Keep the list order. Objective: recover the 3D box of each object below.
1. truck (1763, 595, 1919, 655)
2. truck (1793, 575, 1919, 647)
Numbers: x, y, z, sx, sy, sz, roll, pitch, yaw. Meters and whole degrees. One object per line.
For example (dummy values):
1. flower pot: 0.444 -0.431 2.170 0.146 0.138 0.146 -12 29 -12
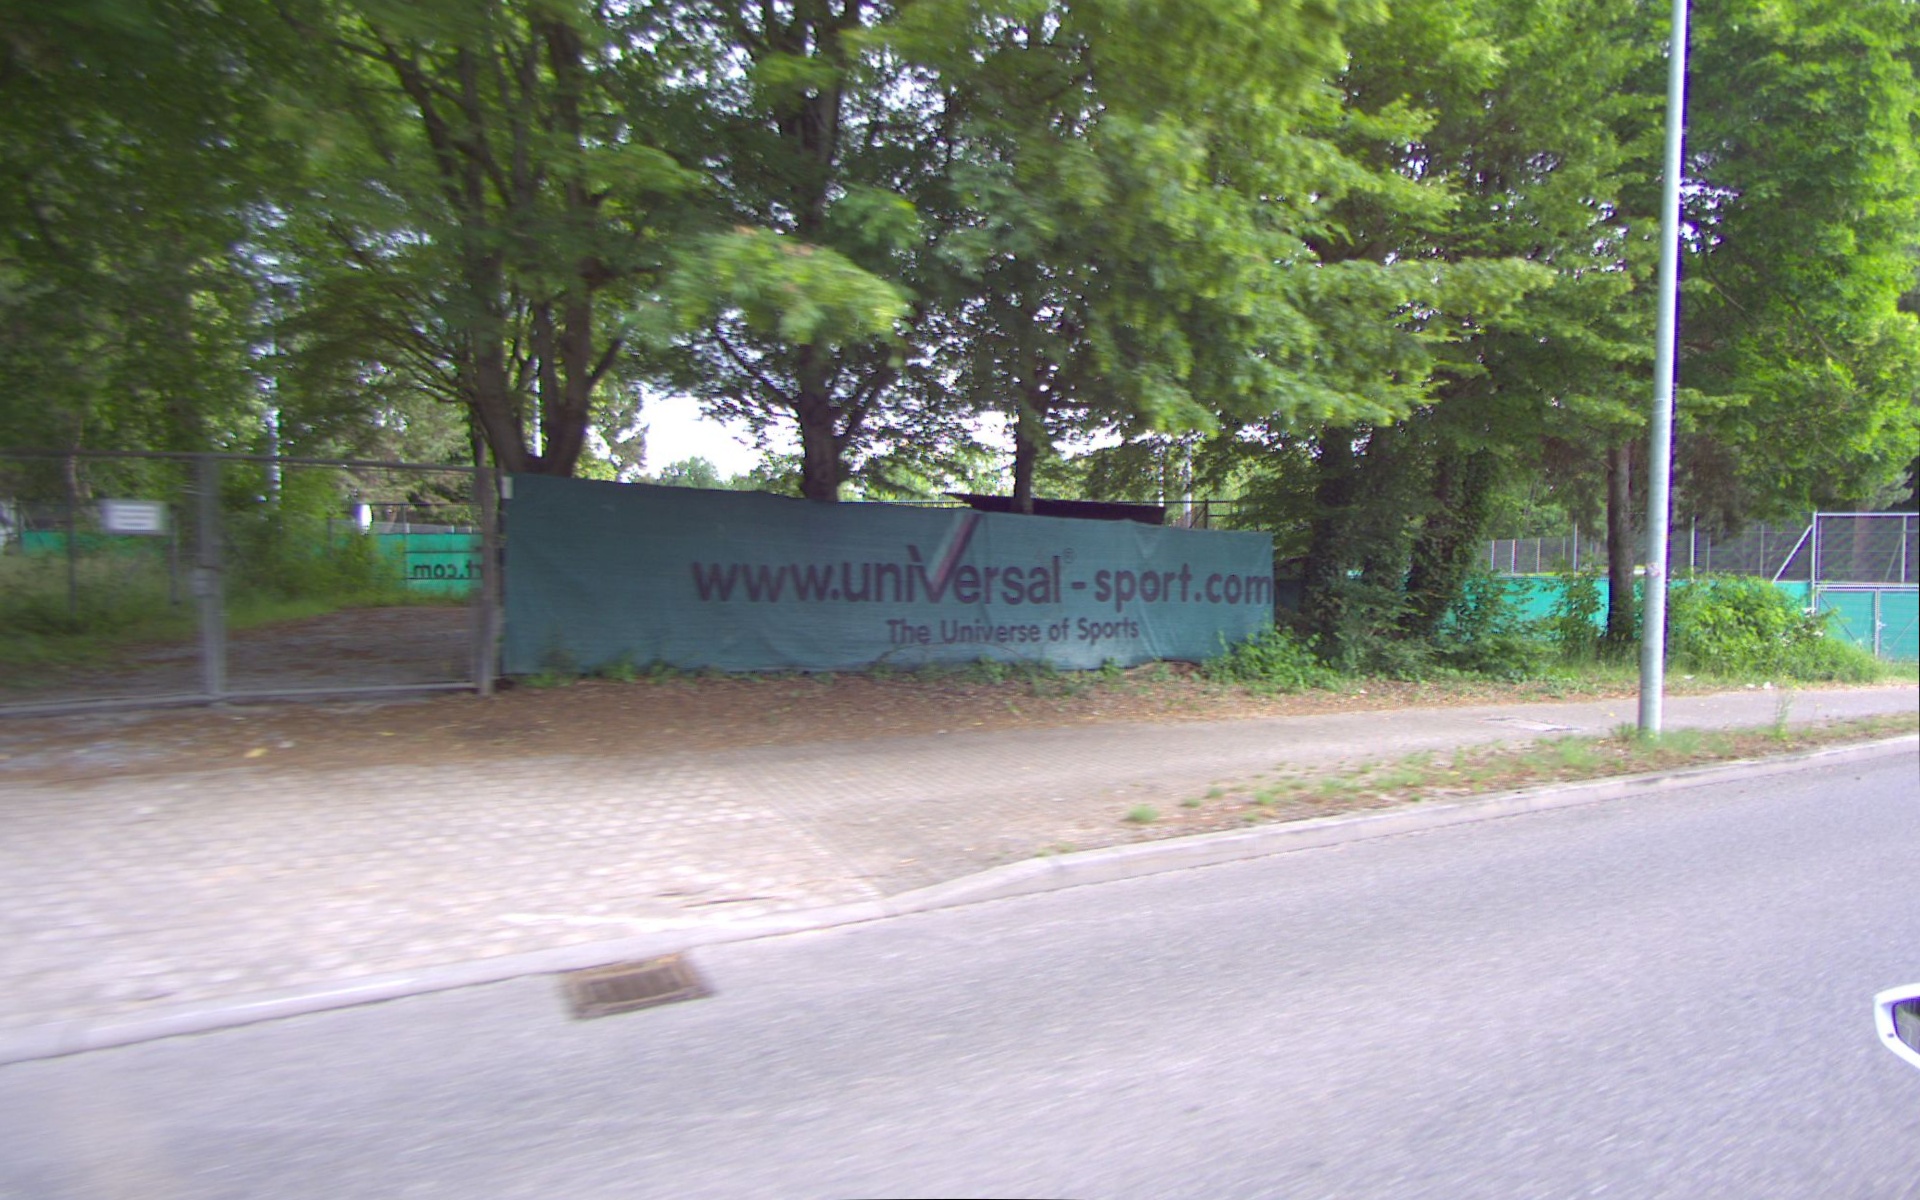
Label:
1. truck: 42.390 1.164 47.884 6.309 2.448 2.114 4 1 40
2. truck: 48.902 0.601 51.656 9.127 3.578 2.551 2 1 42
